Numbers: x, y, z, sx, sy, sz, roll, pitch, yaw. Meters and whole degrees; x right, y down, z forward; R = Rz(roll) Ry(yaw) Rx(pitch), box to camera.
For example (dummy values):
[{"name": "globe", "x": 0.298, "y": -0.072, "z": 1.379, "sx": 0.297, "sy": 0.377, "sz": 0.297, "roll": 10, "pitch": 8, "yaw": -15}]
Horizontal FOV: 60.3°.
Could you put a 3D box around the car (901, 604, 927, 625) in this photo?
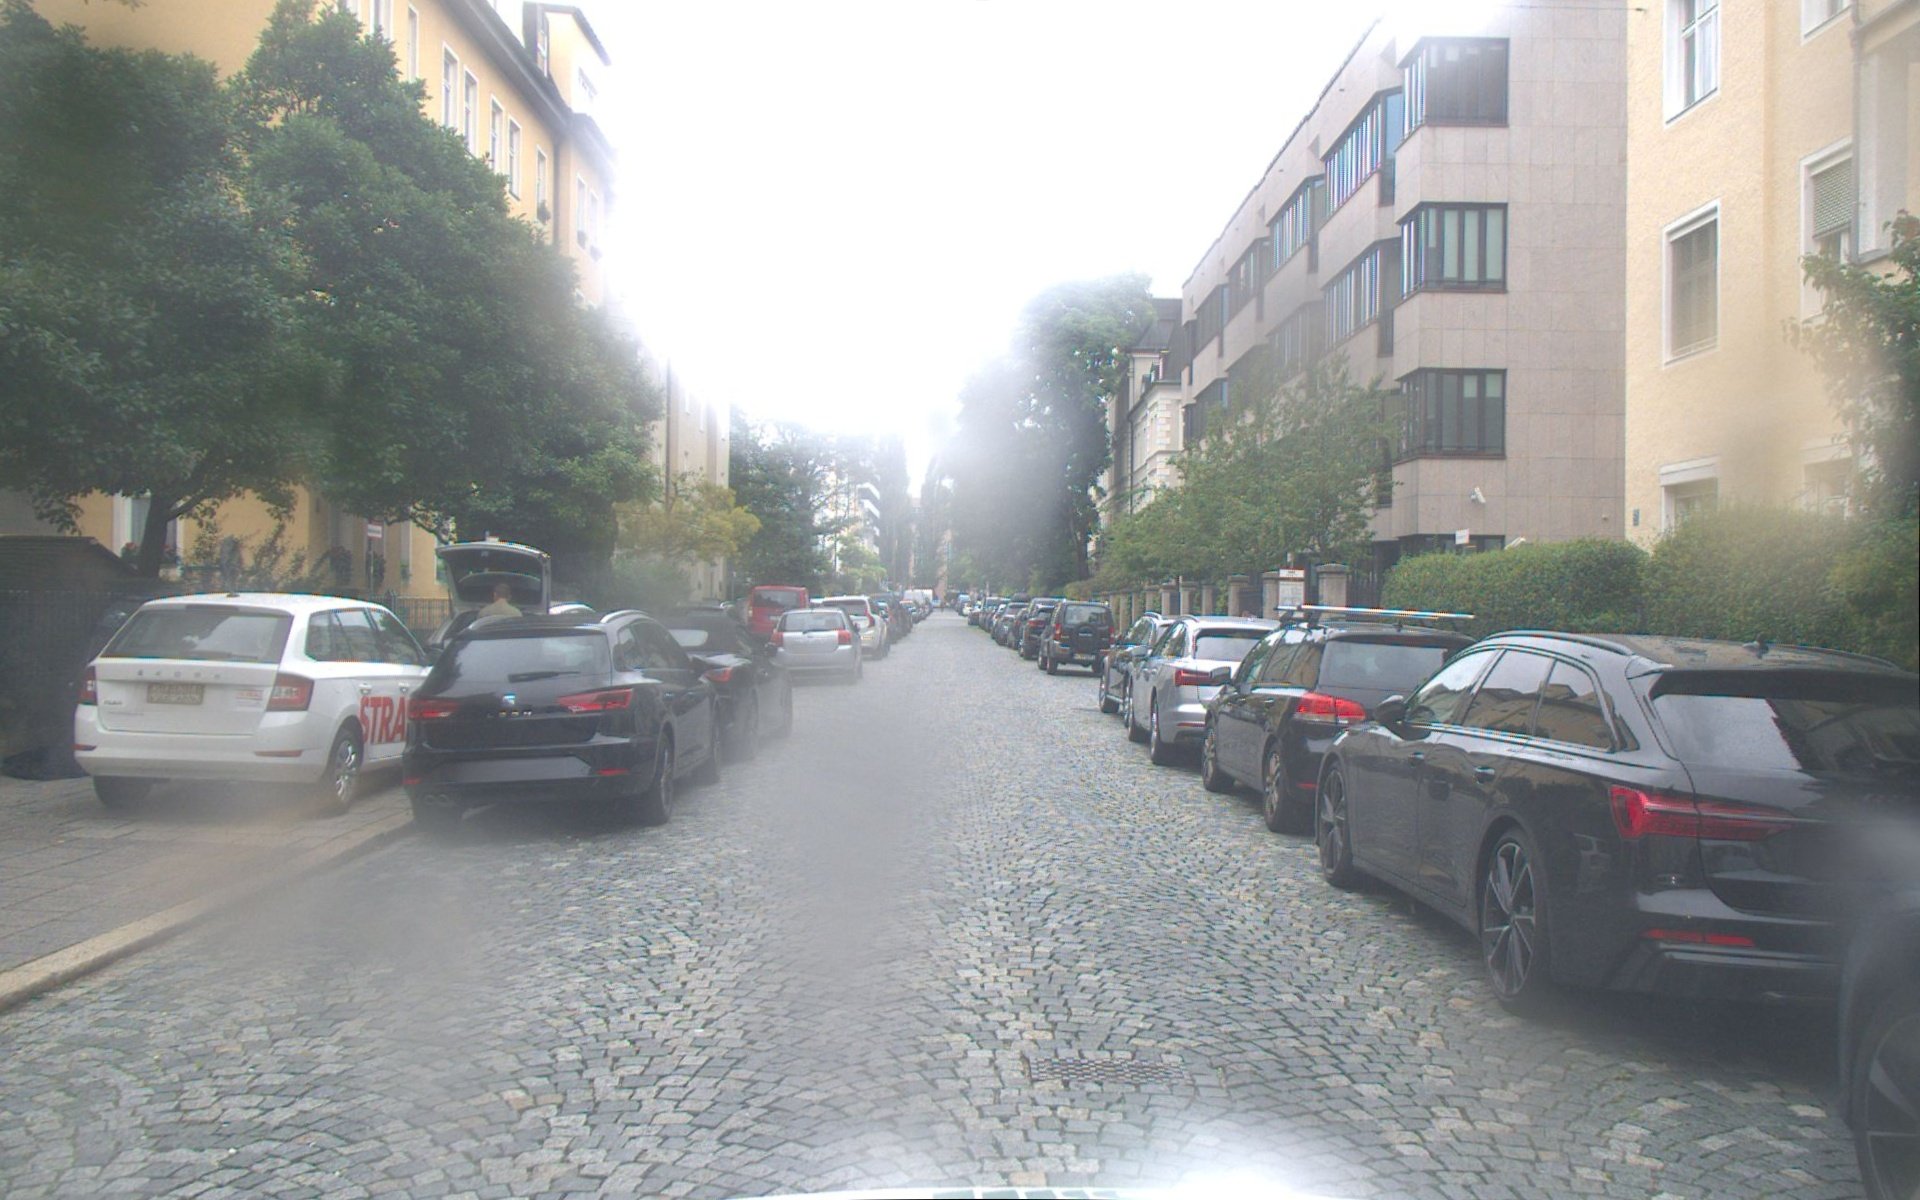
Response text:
[{"name": "car", "x": -3.917, "y": 1.243, "z": 140.474, "sx": 1.834, "sy": 1.607, "sz": 4.209, "roll": 3, "pitch": 0, "yaw": 3}]

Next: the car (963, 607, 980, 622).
[{"name": "car", "x": 1.206, "y": 1.511, "z": 176.407, "sx": 1.753, "sy": 1.547, "sz": 4.000, "roll": 1, "pitch": 0, "yaw": 0}]

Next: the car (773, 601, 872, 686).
[{"name": "car", "x": -2.711, "y": 0.836, "z": 33.470, "sx": 1.679, "sy": 1.589, "sz": 4.389, "roll": -1, "pitch": 0, "yaw": -1}]

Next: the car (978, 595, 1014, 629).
[{"name": "car", "x": 2.205, "y": 0.723, "z": 102.743, "sx": 1.836, "sy": 1.962, "sz": 5.161, "roll": 4, "pitch": 0, "yaw": -3}]

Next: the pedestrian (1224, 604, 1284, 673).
[{"name": "pedestrian", "x": 6.721, "y": 0.866, "z": 37.869, "sx": 1.191, "sy": 1.519, "sz": 1.129, "roll": -1, "pitch": 0, "yaw": 1}]

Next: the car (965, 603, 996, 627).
[{"name": "car", "x": 1.419, "y": 1.042, "z": 114.720, "sx": 1.836, "sy": 1.529, "sz": 4.509, "roll": 4, "pitch": 0, "yaw": -3}]

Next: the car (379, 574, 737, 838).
[{"name": "car", "x": -2.808, "y": 0.673, "z": 12.577, "sx": 1.704, "sy": 1.631, "sz": 4.536, "roll": 0, "pitch": 0, "yaw": -1}]

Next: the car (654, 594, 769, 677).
[{"name": "car", "x": -5.165, "y": 0.707, "z": 34.902, "sx": 1.680, "sy": 1.523, "sz": 4.720, "roll": 3, "pitch": 0, "yaw": -1}]

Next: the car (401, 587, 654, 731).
[{"name": "car", "x": -4.993, "y": 0.638, "z": 19.758, "sx": 1.739, "sy": 1.441, "sz": 4.561, "roll": 3, "pitch": 0, "yaw": 0}]

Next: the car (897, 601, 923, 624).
[{"name": "car", "x": -3.699, "y": 0.930, "z": 122.560, "sx": 1.836, "sy": 1.607, "sz": 4.253, "roll": -2, "pitch": 0, "yaw": -3}]

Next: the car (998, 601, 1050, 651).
[{"name": "car", "x": 2.447, "y": 0.988, "z": 64.293, "sx": 1.835, "sy": 1.765, "sz": 4.892, "roll": 3, "pitch": 0, "yaw": 1}]

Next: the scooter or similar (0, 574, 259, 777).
[{"name": "scooter or similar", "x": -7.042, "y": 0.584, "z": 14.043, "sx": 1.040, "sy": 1.550, "sz": 2.634, "roll": 1, "pitch": 0, "yaw": 0}]

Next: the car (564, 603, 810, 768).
[{"name": "car", "x": -2.748, "y": 0.802, "z": 17.742, "sx": 1.777, "sy": 1.480, "sz": 4.912, "roll": -1, "pitch": 0, "yaw": 0}]

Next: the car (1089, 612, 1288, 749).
[{"name": "car", "x": 3.040, "y": 1.022, "z": 23.099, "sx": 1.953, "sy": 1.579, "sz": 5.013, "roll": 3, "pitch": 0, "yaw": -1}]

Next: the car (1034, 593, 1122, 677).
[{"name": "car", "x": 2.758, "y": 0.803, "z": 39.274, "sx": 1.586, "sy": 1.781, "sz": 3.885, "roll": 4, "pitch": 0, "yaw": -2}]

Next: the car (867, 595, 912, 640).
[{"name": "car", "x": -3.273, "y": 0.816, "z": 77.851, "sx": 1.953, "sy": 1.950, "sz": 5.175, "roll": -2, "pitch": 0, "yaw": -1}]

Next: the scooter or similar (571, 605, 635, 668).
[{"name": "scooter or similar", "x": -7.473, "y": 0.747, "z": 34.689, "sx": 0.937, "sy": 1.221, "sz": 1.522, "roll": 4, "pitch": 0, "yaw": 0}]

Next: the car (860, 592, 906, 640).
[{"name": "car", "x": -3.285, "y": 0.688, "z": 71.450, "sx": 1.835, "sy": 1.951, "sz": 4.826, "roll": -1, "pitch": 0, "yaw": -1}]

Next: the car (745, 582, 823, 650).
[{"name": "car", "x": -5.517, "y": 0.484, "z": 52.385, "sx": 1.954, "sy": 1.965, "sz": 5.328, "roll": 3, "pitch": 0, "yaw": -2}]

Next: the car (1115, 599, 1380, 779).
[{"name": "car", "x": 2.910, "y": 0.841, "z": 17.870, "sx": 1.953, "sy": 1.579, "sz": 4.985, "roll": 3, "pitch": 0, "yaw": 0}]

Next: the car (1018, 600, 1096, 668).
[{"name": "car", "x": 2.754, "y": 0.935, "z": 47.751, "sx": 1.823, "sy": 1.731, "sz": 4.812, "roll": 4, "pitch": 0, "yaw": -1}]

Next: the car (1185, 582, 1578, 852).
[{"name": "car", "x": 3.048, "y": 0.778, "z": 12.941, "sx": 1.855, "sy": 1.682, "sz": 4.293, "roll": 3, "pitch": 0, "yaw": -1}]

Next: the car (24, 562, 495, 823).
[{"name": "car", "x": -5.013, "y": 0.597, "z": 12.599, "sx": 1.704, "sy": 1.563, "sz": 4.465, "roll": 3, "pitch": 0, "yaw": -1}]

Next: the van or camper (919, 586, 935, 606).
[{"name": "van or camper", "x": -4.825, "y": -0.519, "z": 240.048, "sx": 2.210, "sy": 2.790, "sz": 5.097, "roll": 2, "pitch": 0, "yaw": 0}]

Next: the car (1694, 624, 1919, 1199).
[{"name": "car", "x": 3.184, "y": 0.872, "z": 2.605, "sx": 1.844, "sy": 1.514, "sz": 4.813, "roll": 4, "pitch": 0, "yaw": 0}]

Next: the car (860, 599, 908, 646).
[{"name": "car", "x": -3.075, "y": 0.875, "z": 66.310, "sx": 1.828, "sy": 1.765, "sz": 4.401, "roll": -1, "pitch": 0, "yaw": -3}]

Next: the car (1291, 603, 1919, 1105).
[{"name": "car", "x": 2.989, "y": 0.844, "z": 7.736, "sx": 1.782, "sy": 1.514, "sz": 5.049, "roll": 4, "pitch": 0, "yaw": 0}]

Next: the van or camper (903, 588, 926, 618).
[{"name": "van or camper", "x": -4.286, "y": 0.293, "z": 155.433, "sx": 1.953, "sy": 2.698, "sz": 4.000, "roll": -2, "pitch": 0, "yaw": 0}]

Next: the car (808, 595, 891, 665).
[{"name": "car", "x": -3.052, "y": 0.816, "z": 46.834, "sx": 1.965, "sy": 1.840, "sz": 5.174, "roll": -1, "pitch": 0, "yaw": 0}]

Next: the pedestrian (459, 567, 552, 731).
[{"name": "pedestrian", "x": -4.771, "y": 0.508, "z": 17.390, "sx": 0.750, "sy": 1.679, "sz": 0.582, "roll": 2, "pitch": -1, "yaw": 0}]
